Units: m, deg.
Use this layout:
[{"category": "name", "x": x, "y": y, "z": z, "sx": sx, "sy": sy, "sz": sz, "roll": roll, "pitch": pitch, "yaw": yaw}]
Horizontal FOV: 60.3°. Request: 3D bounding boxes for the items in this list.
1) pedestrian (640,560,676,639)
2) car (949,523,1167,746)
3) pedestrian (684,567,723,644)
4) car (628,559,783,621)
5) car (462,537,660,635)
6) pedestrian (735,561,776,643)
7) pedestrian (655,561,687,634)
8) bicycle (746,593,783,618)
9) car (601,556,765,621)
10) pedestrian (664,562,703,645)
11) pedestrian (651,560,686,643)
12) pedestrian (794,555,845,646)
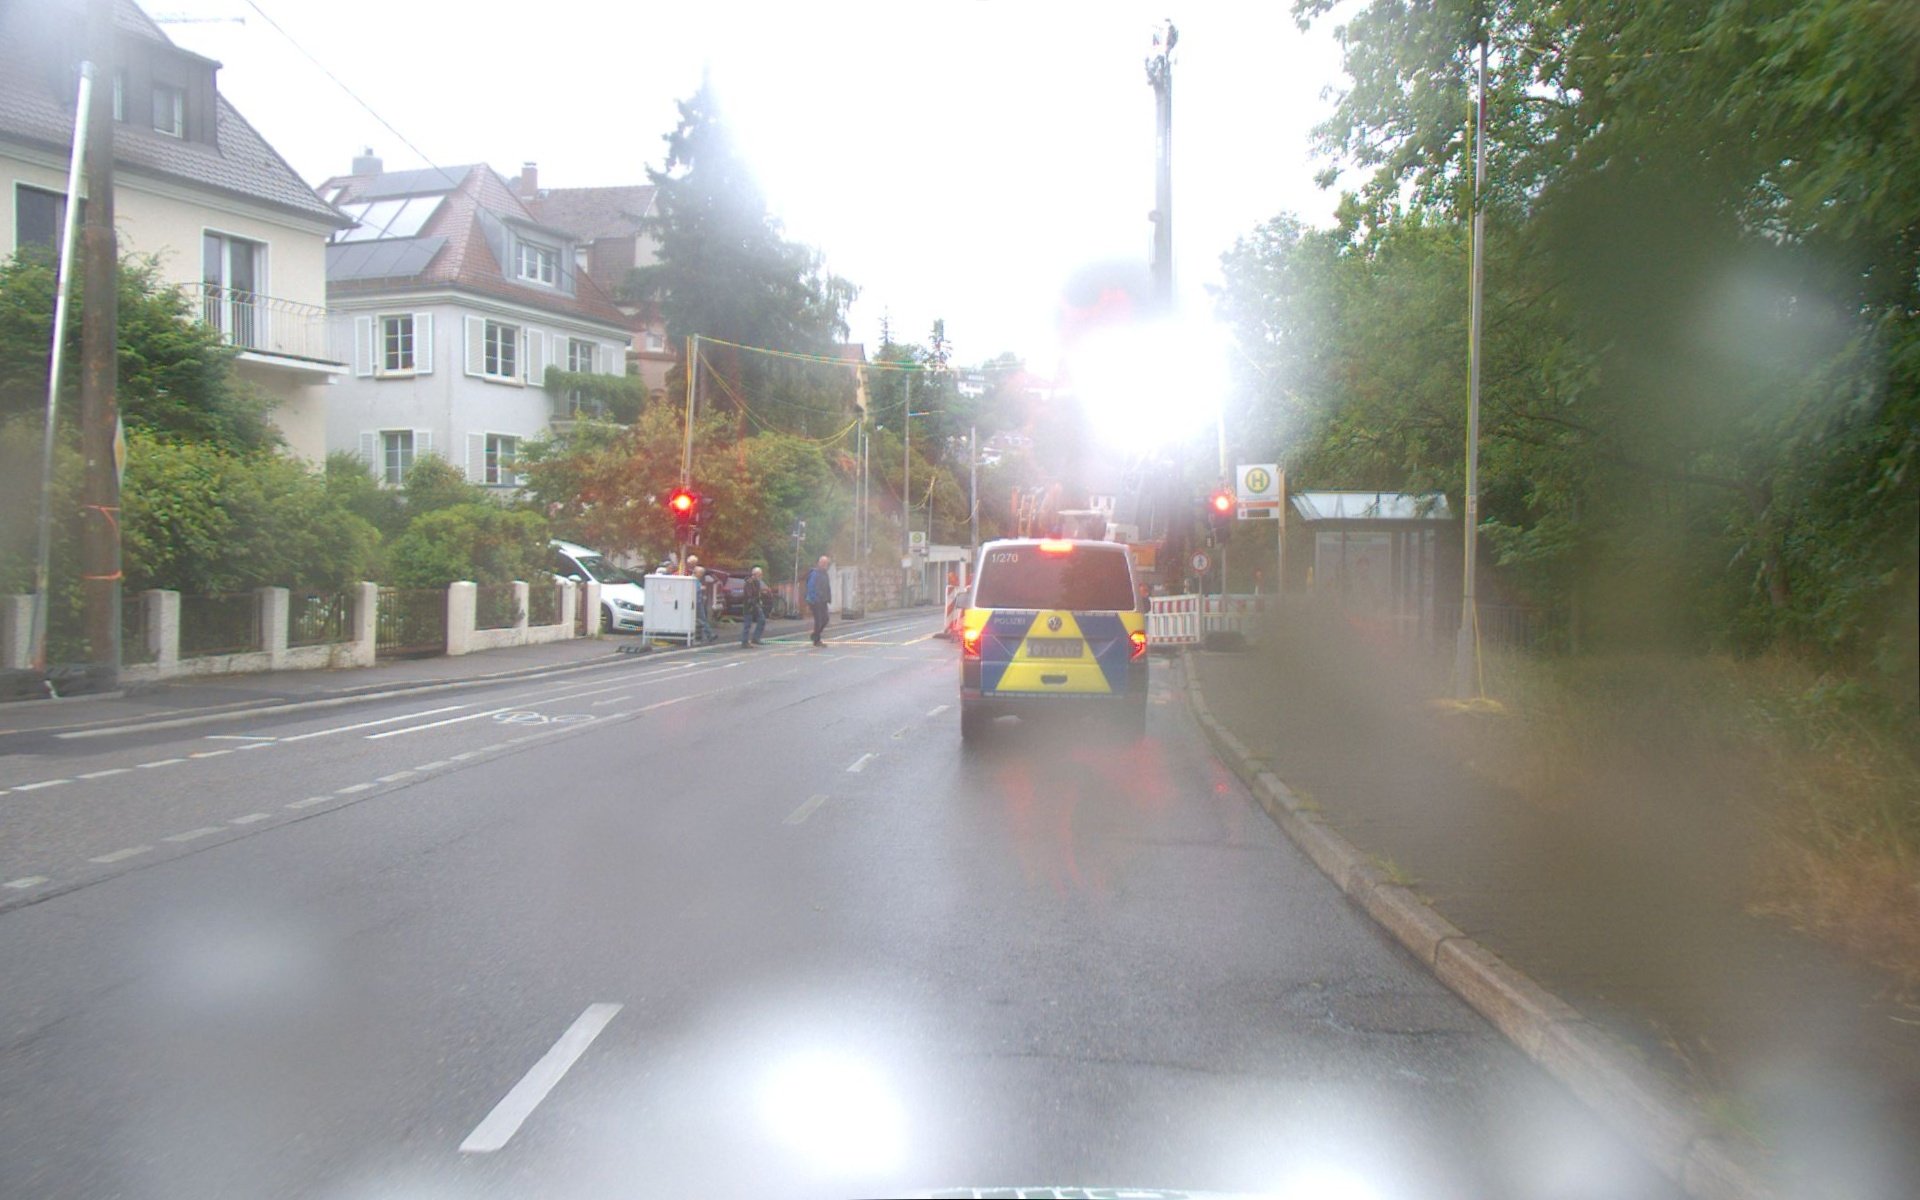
[{"category": "pedestrian", "x": -6.227, "y": -0.006, "z": 34.078, "sx": 0.551, "sy": 1.610, "sz": 0.468, "roll": 3, "pitch": -2, "yaw": 5}, {"category": "car", "x": 1.171, "y": 0.268, "z": 17.460, "sx": 1.951, "sy": 2.048, "sz": 4.406, "roll": 0, "pitch": 1, "yaw": 8}, {"category": "pedestrian", "x": -5.311, "y": 0.122, "z": 34.274, "sx": 0.613, "sy": 1.548, "sz": 0.593, "roll": 3, "pitch": -2, "yaw": 5}, {"category": "car", "x": -7.181, "y": -0.279, "z": 46.797, "sx": 3.902, "sy": 1.512, "sz": 1.761, "roll": 3, "pitch": -2, "yaw": 13}, {"category": "car", "x": -8.973, "y": -0.333, "z": 37.271, "sx": 3.902, "sy": 2.049, "sz": 1.831, "roll": 2, "pitch": 0, "yaw": 14}, {"category": "pedestrian", "x": -4.190, "y": 0.054, "z": 33.924, "sx": 0.671, "sy": 1.632, "sz": 0.606, "roll": 3, "pitch": -2, "yaw": 1}, {"category": "pedestrian", "x": -6.176, "y": -0.049, "z": 35.359, "sx": 0.514, "sy": 1.533, "sz": 0.429, "roll": 3, "pitch": -2, "yaw": 5}, {"category": "bicycle", "x": -5.872, "y": 0.163, "z": 49.671, "sx": 1.031, "sy": 0.674, "sz": 0.320, "roll": 2, "pitch": -2, "yaw": 13}, {"category": "car", "x": -7.458, "y": -0.296, "z": 44.658, "sx": 3.902, "sy": 1.512, "sz": 1.761, "roll": 3, "pitch": -2, "yaw": 13}, {"category": "pedestrian", "x": -5.979, "y": 0.075, "z": 35.742, "sx": 0.613, "sy": 1.745, "sz": 0.593, "roll": 3, "pitch": -2, "yaw": 5}, {"category": "pedestrian", "x": -6.100, "y": 0.040, "z": 34.647, "sx": 0.537, "sy": 1.697, "sz": 0.414, "roll": 3, "pitch": -2, "yaw": 5}, {"category": "pedestrian", "x": -2.893, "y": 0.021, "z": 34.204, "sx": 0.871, "sy": 1.818, "sz": 0.828, "roll": 3, "pitch": -2, "yaw": 1}]
